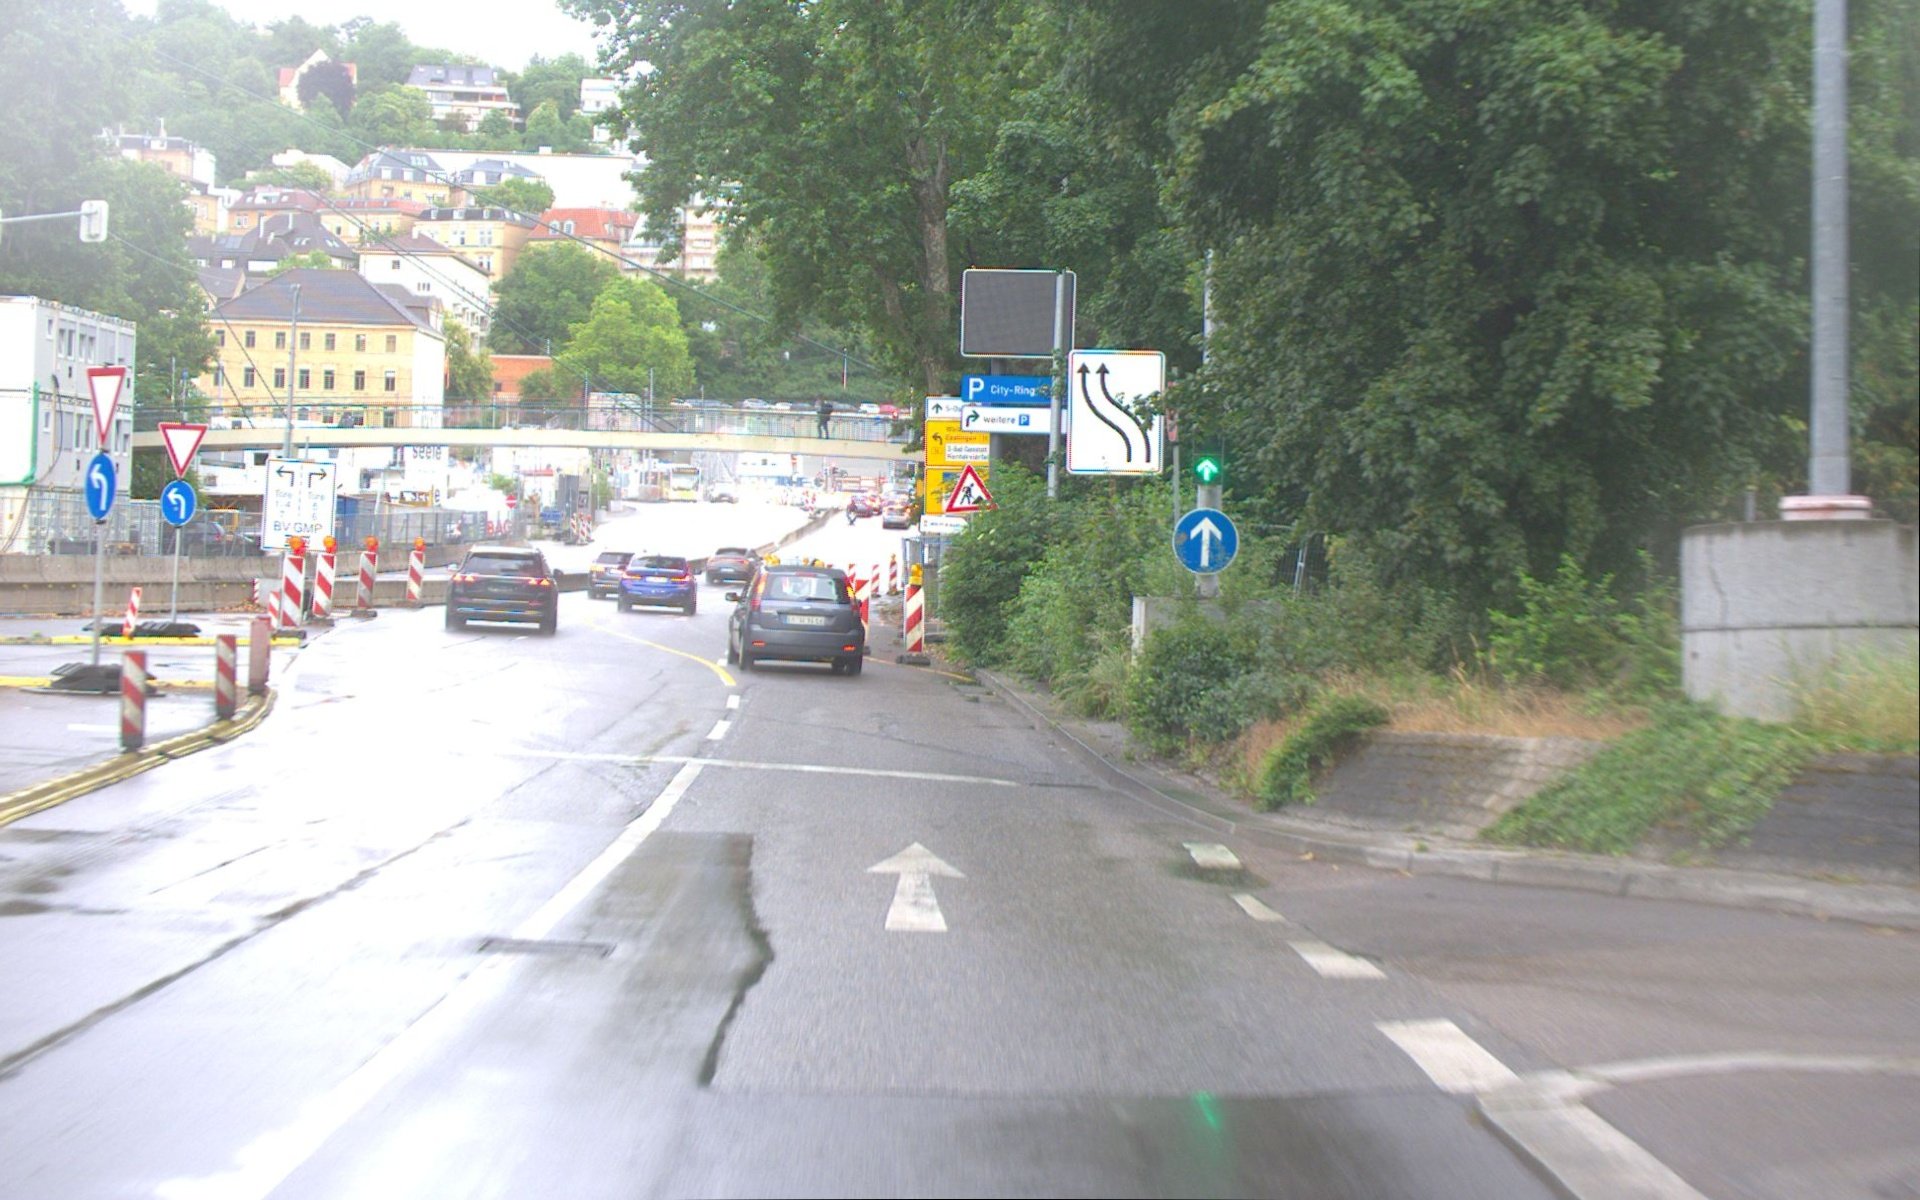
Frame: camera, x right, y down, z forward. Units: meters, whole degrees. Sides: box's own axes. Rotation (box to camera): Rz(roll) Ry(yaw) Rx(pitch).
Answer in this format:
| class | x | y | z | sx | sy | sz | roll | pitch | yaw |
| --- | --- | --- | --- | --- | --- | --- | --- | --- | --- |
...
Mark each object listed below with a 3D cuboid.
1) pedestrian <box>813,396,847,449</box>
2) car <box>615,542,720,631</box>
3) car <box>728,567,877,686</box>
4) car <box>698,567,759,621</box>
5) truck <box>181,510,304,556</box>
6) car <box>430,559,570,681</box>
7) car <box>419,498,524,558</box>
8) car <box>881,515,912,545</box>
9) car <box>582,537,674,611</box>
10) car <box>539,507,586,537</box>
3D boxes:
| class | x | y | z | sx | sy | sz | roll | pitch | yaw |
| --- | --- | --- | --- | --- | --- | --- | --- | --- | --- |
| pedestrian | -5.198 | -7.084 | 137.185 | 1.148 | 2.053 | 1.059 | 1 | 0 | 9 |
| car | -7.013 | -0.326 | 82.721 | 2.105 | 2.043 | 4.000 | 1 | 0 | 1 |
| car | -2.193 | 0.326 | 46.983 | 1.812 | 1.521 | 4.001 | 1 | 1 | -5 |
| car | -8.905 | -0.255 | 132.449 | 2.051 | 2.007 | 4.000 | 1 | 0 | 0 |
| truck | -32.908 | -3.076 | 157.776 | 5.246 | 2.007 | 2.164 | 1 | 1 | -3 |
| car | -8.023 | 0.314 | 59.688 | 2.016 | 2.007 | 4.001 | 1 | 0 | -13 |
| car | -24.546 | -3.587 | 172.930 | 1.996 | 2.865 | 6.043 | 1 | 0 | 28 |
| car | -4.172 | -4.584 | 226.303 | 1.993 | 1.863 | 4.000 | 1 | 0 | -1 |
| car | -9.490 | -0.756 | 98.530 | 1.994 | 2.007 | 4.000 | 2 | 1 | 3 |
| car | -23.614 | -4.644 | 204.348 | 1.994 | 1.616 | 4.000 | 2 | 3 | 5 |
